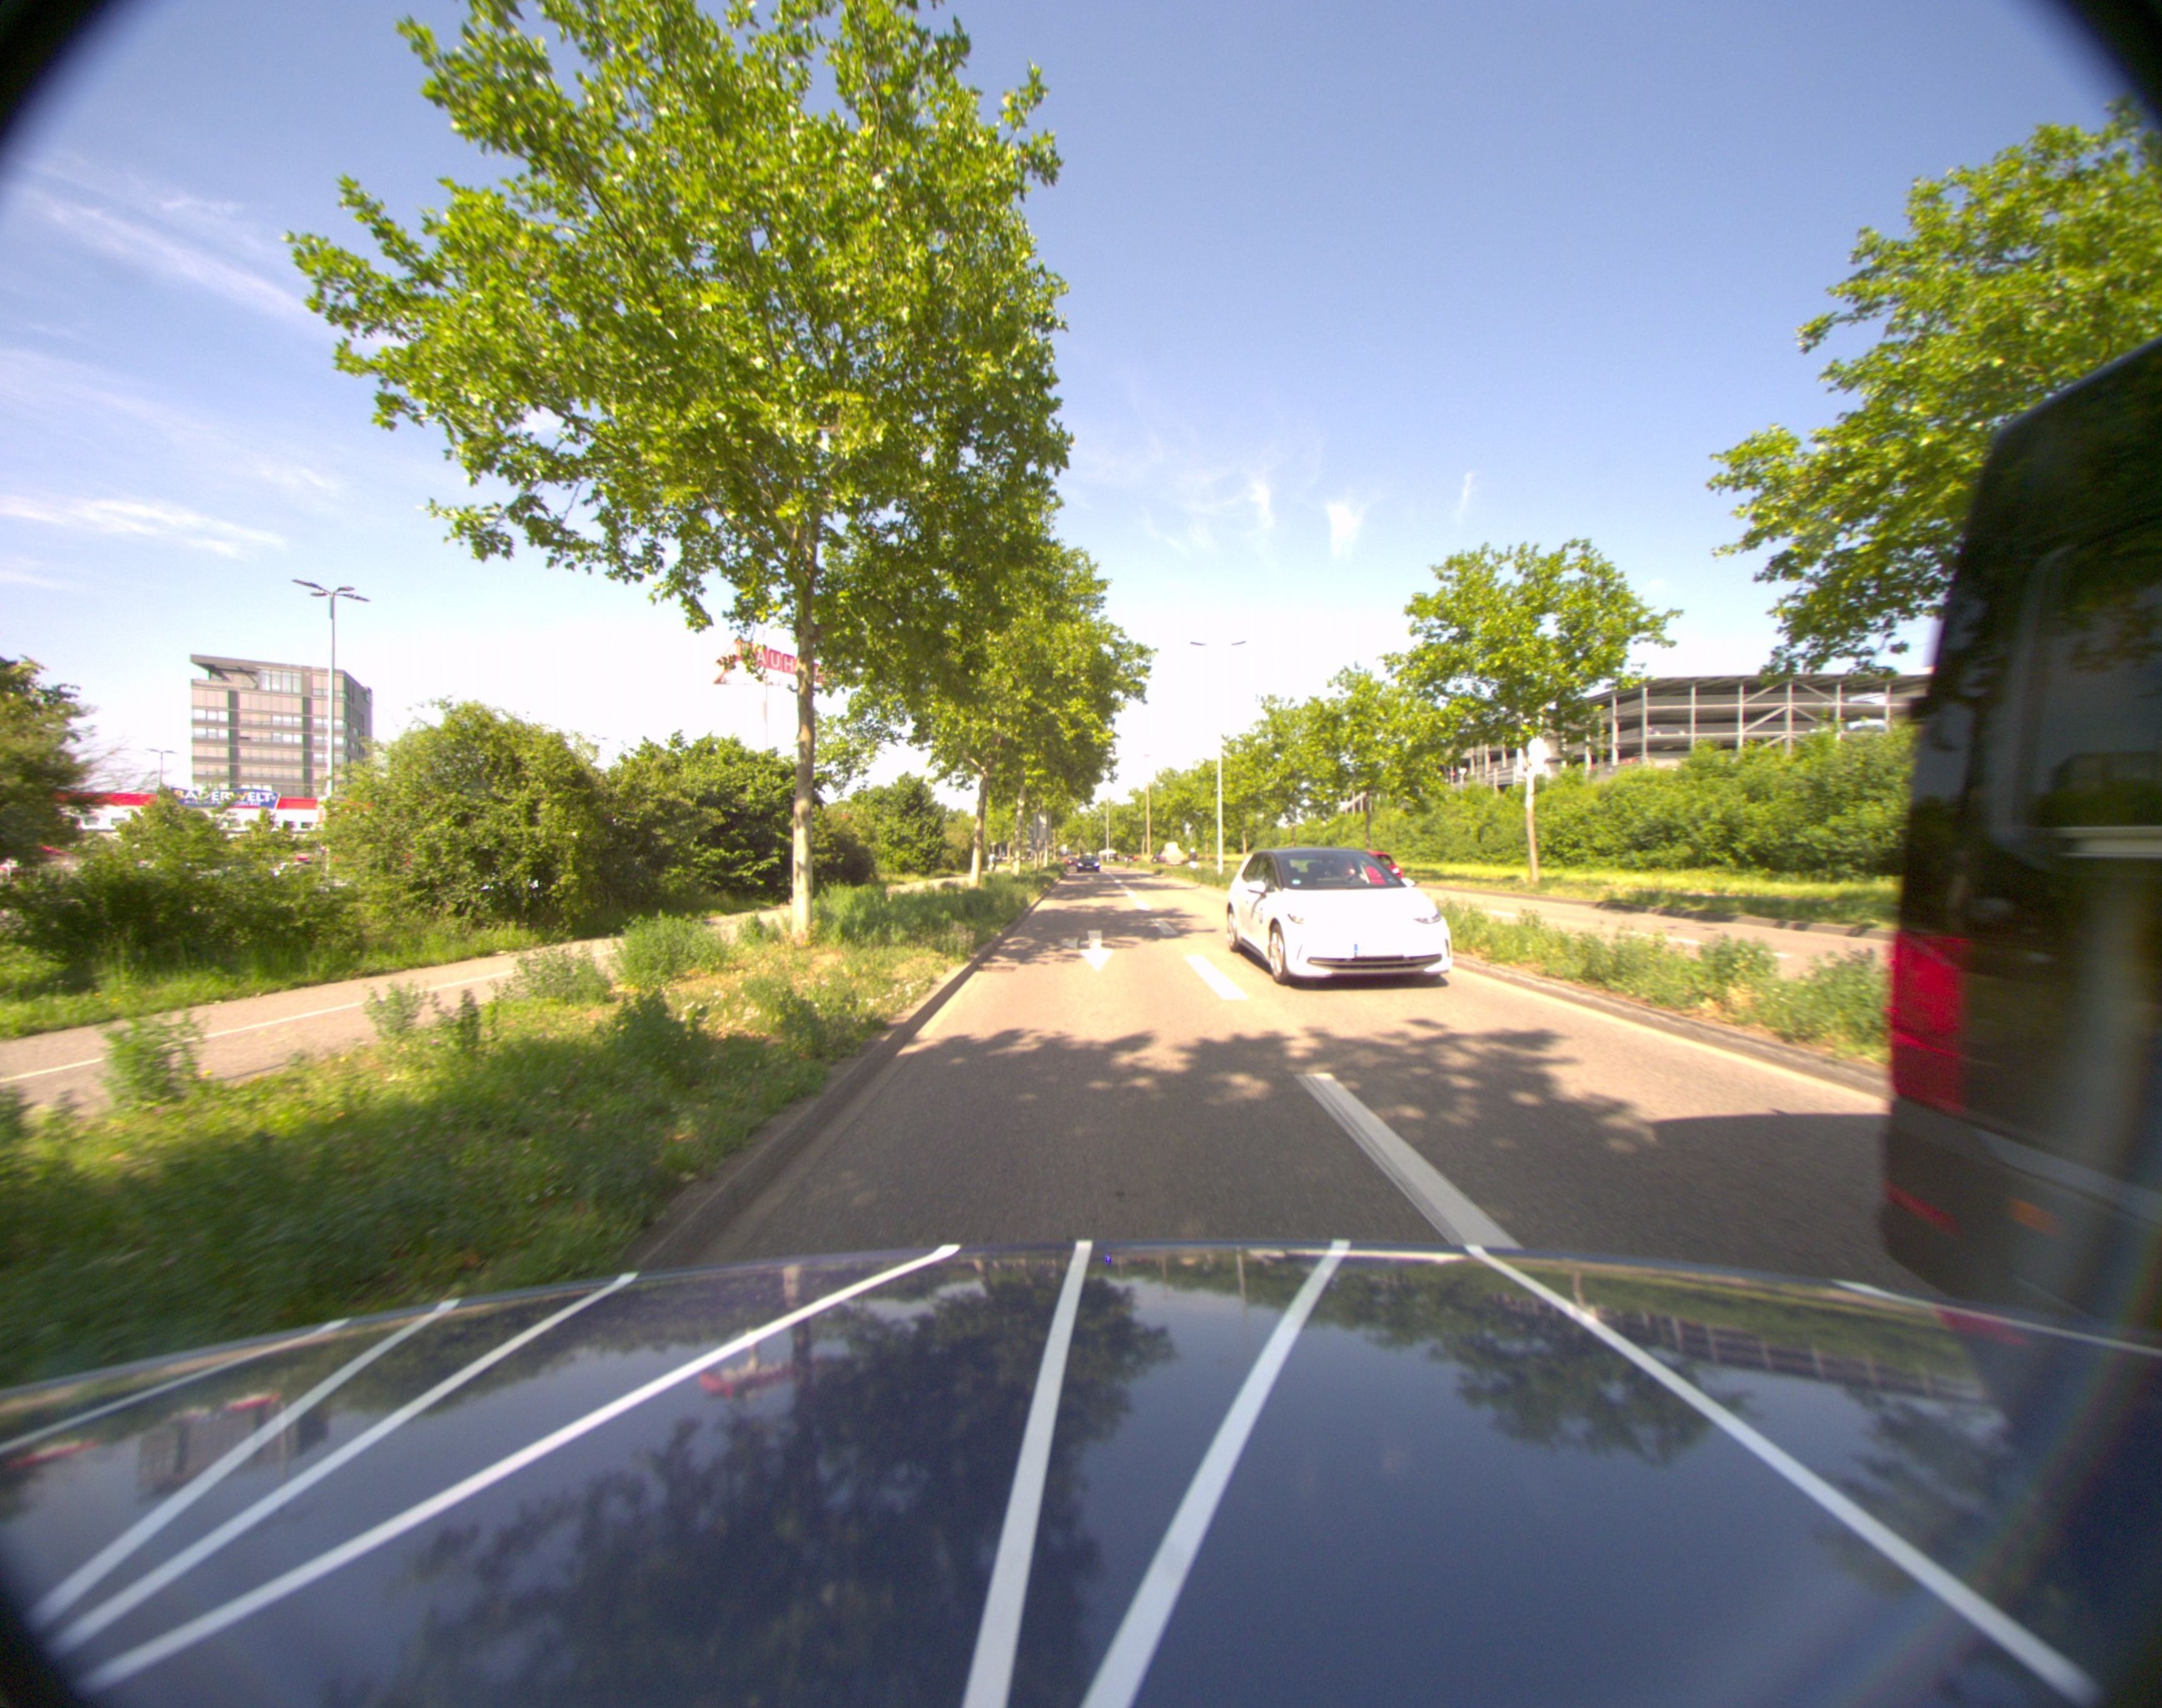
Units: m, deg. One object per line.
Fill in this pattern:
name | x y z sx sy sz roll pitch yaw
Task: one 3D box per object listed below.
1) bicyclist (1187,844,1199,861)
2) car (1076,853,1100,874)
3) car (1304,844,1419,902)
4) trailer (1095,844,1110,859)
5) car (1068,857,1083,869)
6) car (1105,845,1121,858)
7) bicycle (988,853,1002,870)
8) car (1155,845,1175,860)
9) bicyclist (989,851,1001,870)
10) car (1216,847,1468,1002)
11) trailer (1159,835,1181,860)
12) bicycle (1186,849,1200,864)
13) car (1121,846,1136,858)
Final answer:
bicyclist | 8.326 -0.102 56.458 0.730 1.184 1.102 -2 1 1
car | 0.556 0.755 61.448 1.721 1.575 3.753 -1 1 -3
car | 8.330 0.499 22.981 1.859 1.574 4.174 -1 1 -1
trailer | 3.548 -0.429 124.736 2.314 2.252 5.537 -1 1 1
car | -0.830 1.290 110.395 1.649 1.592 3.600 -2 1 -8
car | 4.709 -0.418 112.517 1.736 1.799 4.229 -3 1 -7
bicycle | -6.640 0.571 58.860 0.724 1.291 2.095 -2 1 2
car | 10.356 -0.215 93.927 1.769 1.779 5.374 -2 1 -1
bicyclist | -6.660 0.514 58.864 0.706 1.469 1.009 -2 1 1
car | 3.006 0.697 9.778 1.824 1.512 4.208 -1 1 1
trailer | 10.398 -0.787 88.913 1.885 2.728 4.827 -2 1 -1
bicycle | 8.319 0.174 56.335 0.730 1.023 2.217 -2 0 1
car | 6.184 -0.236 98.814 1.607 1.463 3.788 -2 1 -2
